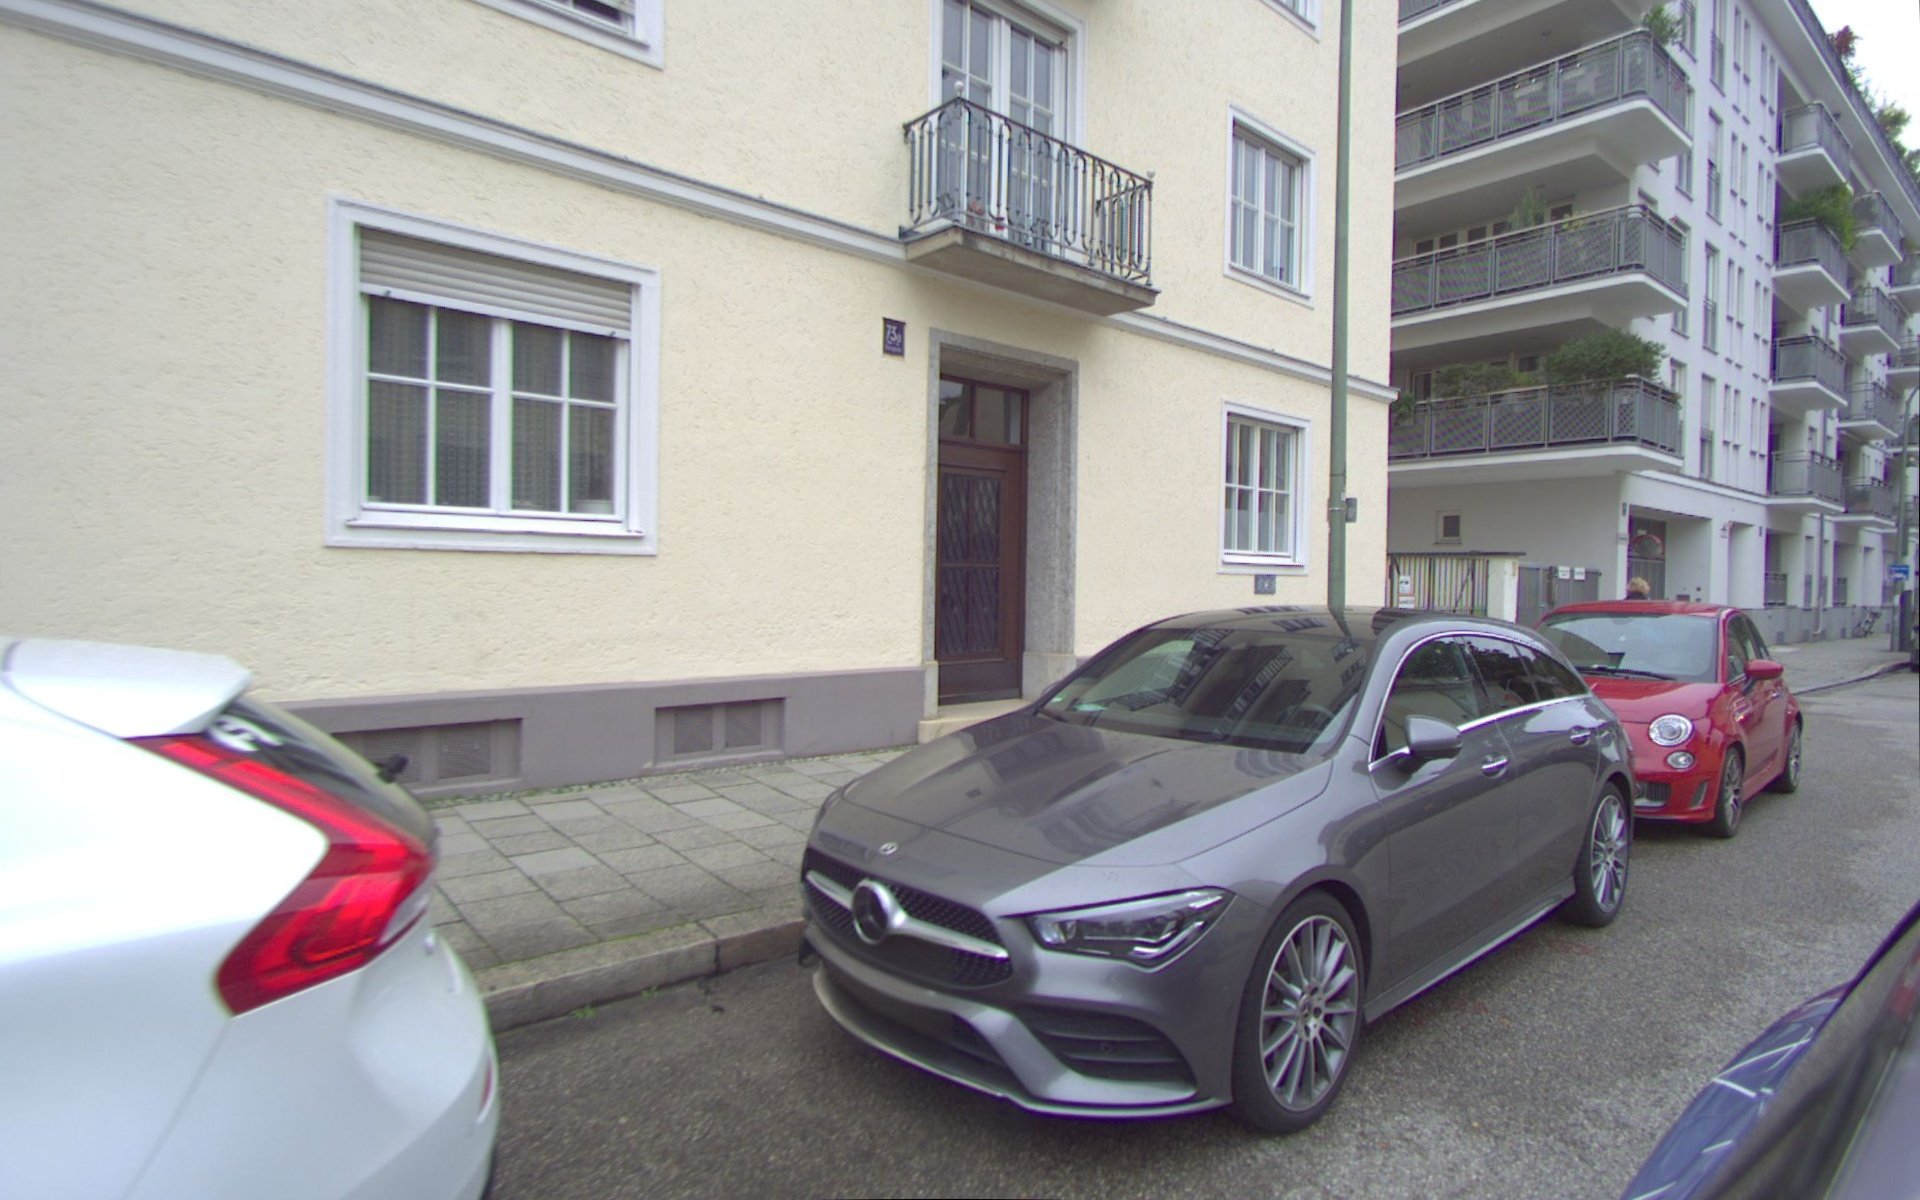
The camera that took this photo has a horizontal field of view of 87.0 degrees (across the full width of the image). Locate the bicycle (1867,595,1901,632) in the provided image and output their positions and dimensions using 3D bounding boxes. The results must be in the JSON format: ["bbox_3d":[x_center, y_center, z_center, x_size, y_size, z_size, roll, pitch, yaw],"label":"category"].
[{"bbox_3d":[31.061,0.435,34.000,2.091,1.174,0.628,0,1,-42],"label":"bicycle"}]

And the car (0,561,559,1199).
[{"bbox_3d":[-2.765,0.674,0.817,4.208,1.510,1.695,1,1,-42],"label":"car"}]

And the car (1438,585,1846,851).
[{"bbox_3d":[5.301,0.667,7.692,3.733,1.527,1.599,0,1,-40],"label":"car"}]

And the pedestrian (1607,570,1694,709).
[{"bbox_3d":[9.076,0.500,13.310,0.661,1.749,0.794,-2,1,-43],"label":"pedestrian"}]

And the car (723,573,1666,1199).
[{"bbox_3d":[1.339,0.659,4.238,4.268,1.510,1.695,-1,2,-42],"label":"car"}]
